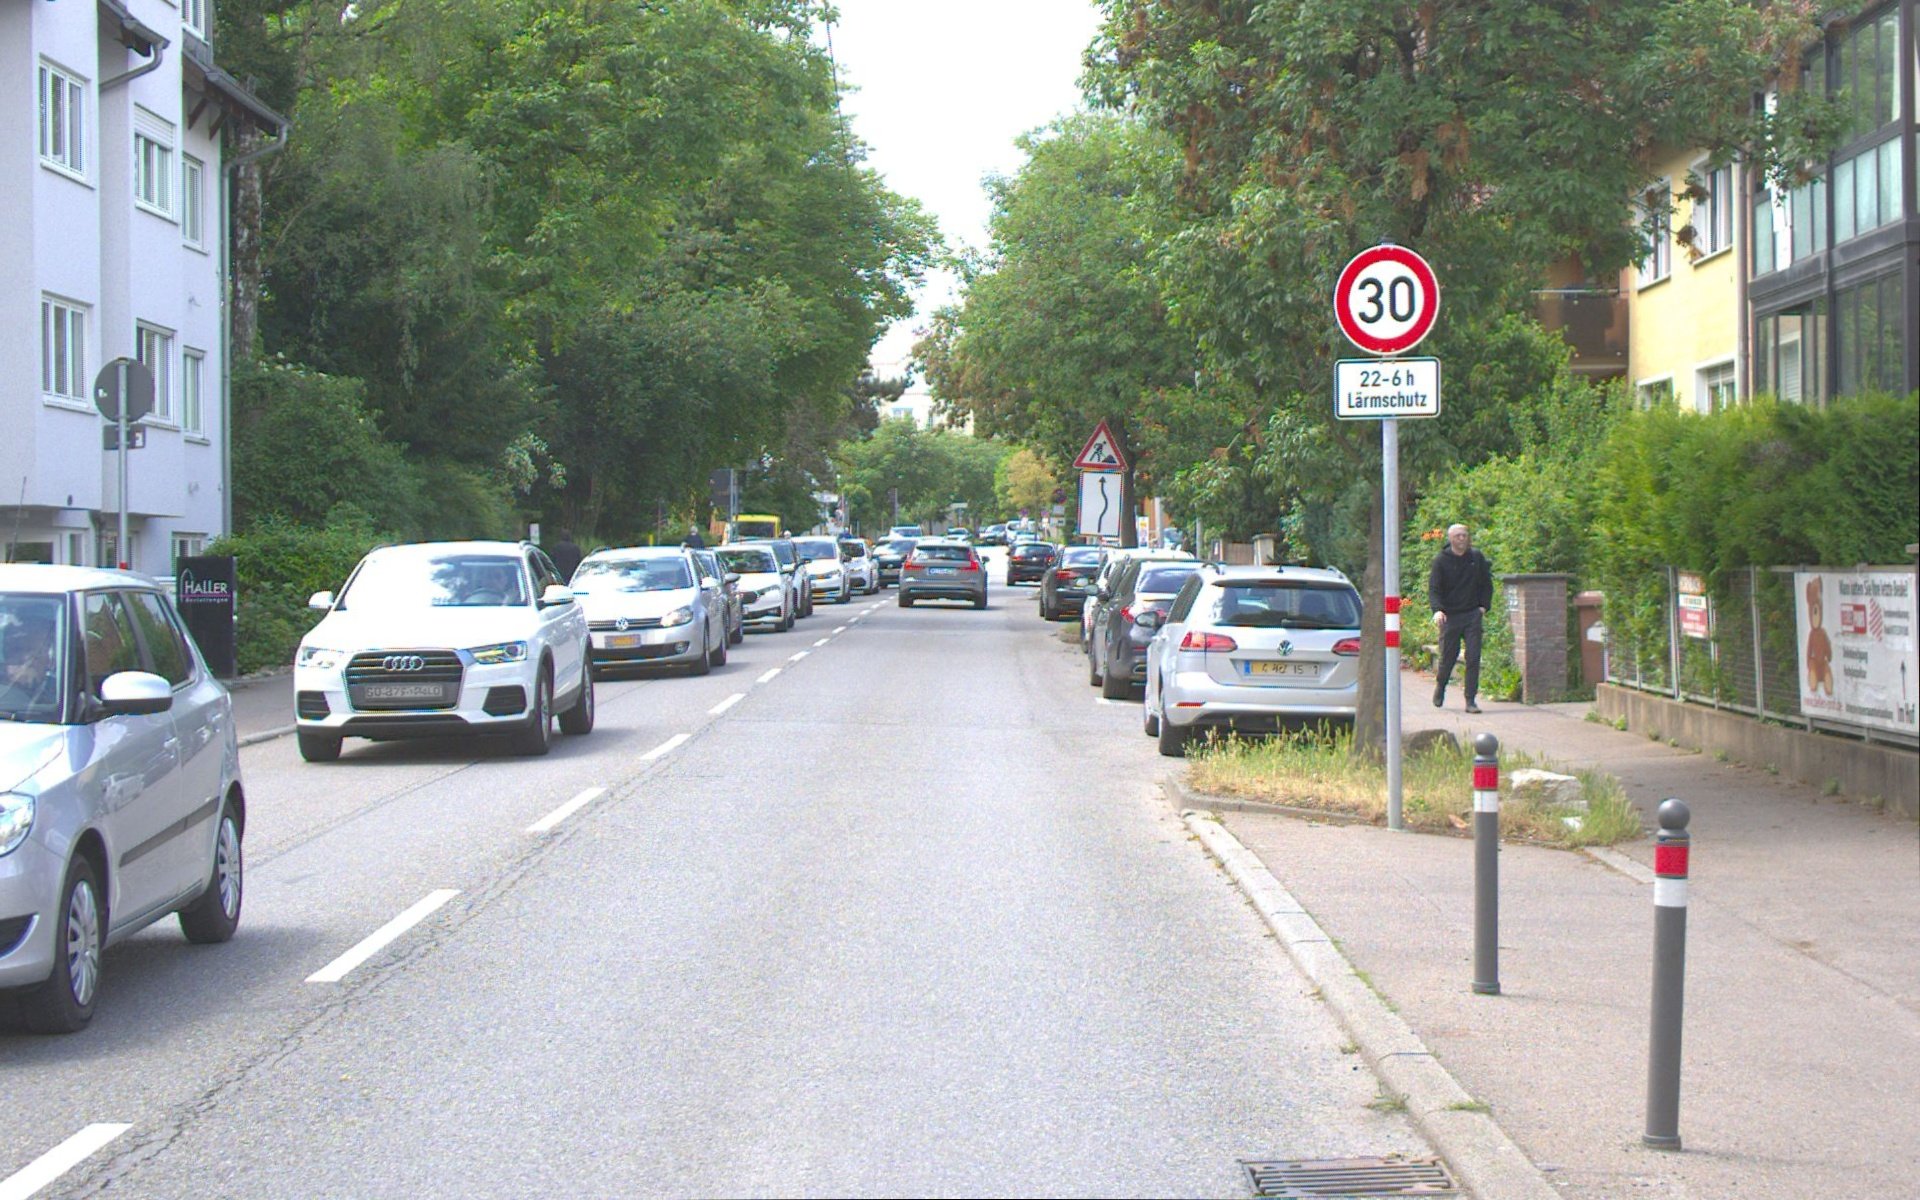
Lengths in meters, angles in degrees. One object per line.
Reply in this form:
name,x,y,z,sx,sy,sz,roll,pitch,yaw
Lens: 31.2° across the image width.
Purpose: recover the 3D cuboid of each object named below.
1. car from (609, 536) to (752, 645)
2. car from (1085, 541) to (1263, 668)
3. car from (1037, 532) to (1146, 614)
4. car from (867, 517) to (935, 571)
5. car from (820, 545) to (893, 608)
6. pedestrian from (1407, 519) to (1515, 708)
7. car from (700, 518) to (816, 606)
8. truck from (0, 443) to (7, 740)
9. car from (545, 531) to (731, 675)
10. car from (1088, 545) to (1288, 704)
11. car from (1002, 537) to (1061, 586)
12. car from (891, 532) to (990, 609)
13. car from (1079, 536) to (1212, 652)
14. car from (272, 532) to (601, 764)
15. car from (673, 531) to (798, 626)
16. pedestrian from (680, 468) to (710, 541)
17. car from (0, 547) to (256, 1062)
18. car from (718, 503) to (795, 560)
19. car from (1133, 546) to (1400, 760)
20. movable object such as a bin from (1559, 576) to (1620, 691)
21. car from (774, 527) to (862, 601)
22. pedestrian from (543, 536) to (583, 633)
car,-4.077,-0.160,50.743,1.709,1.450,4.287,-3,1,0
car,2.542,0.012,41.780,1.993,1.418,4.588,0,1,2
car,2.485,-0.551,66.050,1.801,1.440,4.887,2,1,-1
car,-1.774,-1.712,104.325,1.789,1.536,4.263,-2,1,2
car,-2.825,-0.658,94.352,1.785,1.586,4.154,-2,1,1
pedestrian,4.597,0.117,31.601,0.880,1.706,0.842,0,0,2
car,-3.908,-0.770,67.175,1.928,1.541,4.087,-3,1,0
truck,-8.935,-0.044,24.539,2.224,2.372,6.325,0,0,3
car,-3.693,-0.010,40.063,1.728,1.497,4.376,-2,1,0
car,2.309,0.196,35.877,1.734,1.424,4.883,3,1,0
car,2.313,-1.247,110.211,1.816,1.495,4.267,1,1,2
car,-0.397,-0.673,74.935,1.976,1.508,4.267,3,1,1
car,2.512,-0.117,47.180,1.621,1.502,3.779,0,1,0
car,-3.890,0.299,26.206,1.806,1.566,4.159,-2,1,0
car,-3.706,-0.387,57.302,1.760,1.434,3.970,-2,2,0
pedestrian,-6.474,-2.319,83.848,0.714,1.756,1.122,0,0,-5
car,-3.565,0.565,11.859,1.617,1.481,3.813,0,1,-2
car,-7.133,-2.392,120.925,2.146,1.974,4.930,0,0,3
car,2.348,0.350,27.433,1.701,1.475,4.872,1,1,0
movable object such as a bin,5.973,0.314,32.628,0.523,1.077,0.604,0,0,6
car,-3.354,-0.881,81.950,1.786,1.642,4.491,-2,1,1
pedestrian,-6.805,-0.270,58.942,0.653,1.661,0.932,0,0,-5
